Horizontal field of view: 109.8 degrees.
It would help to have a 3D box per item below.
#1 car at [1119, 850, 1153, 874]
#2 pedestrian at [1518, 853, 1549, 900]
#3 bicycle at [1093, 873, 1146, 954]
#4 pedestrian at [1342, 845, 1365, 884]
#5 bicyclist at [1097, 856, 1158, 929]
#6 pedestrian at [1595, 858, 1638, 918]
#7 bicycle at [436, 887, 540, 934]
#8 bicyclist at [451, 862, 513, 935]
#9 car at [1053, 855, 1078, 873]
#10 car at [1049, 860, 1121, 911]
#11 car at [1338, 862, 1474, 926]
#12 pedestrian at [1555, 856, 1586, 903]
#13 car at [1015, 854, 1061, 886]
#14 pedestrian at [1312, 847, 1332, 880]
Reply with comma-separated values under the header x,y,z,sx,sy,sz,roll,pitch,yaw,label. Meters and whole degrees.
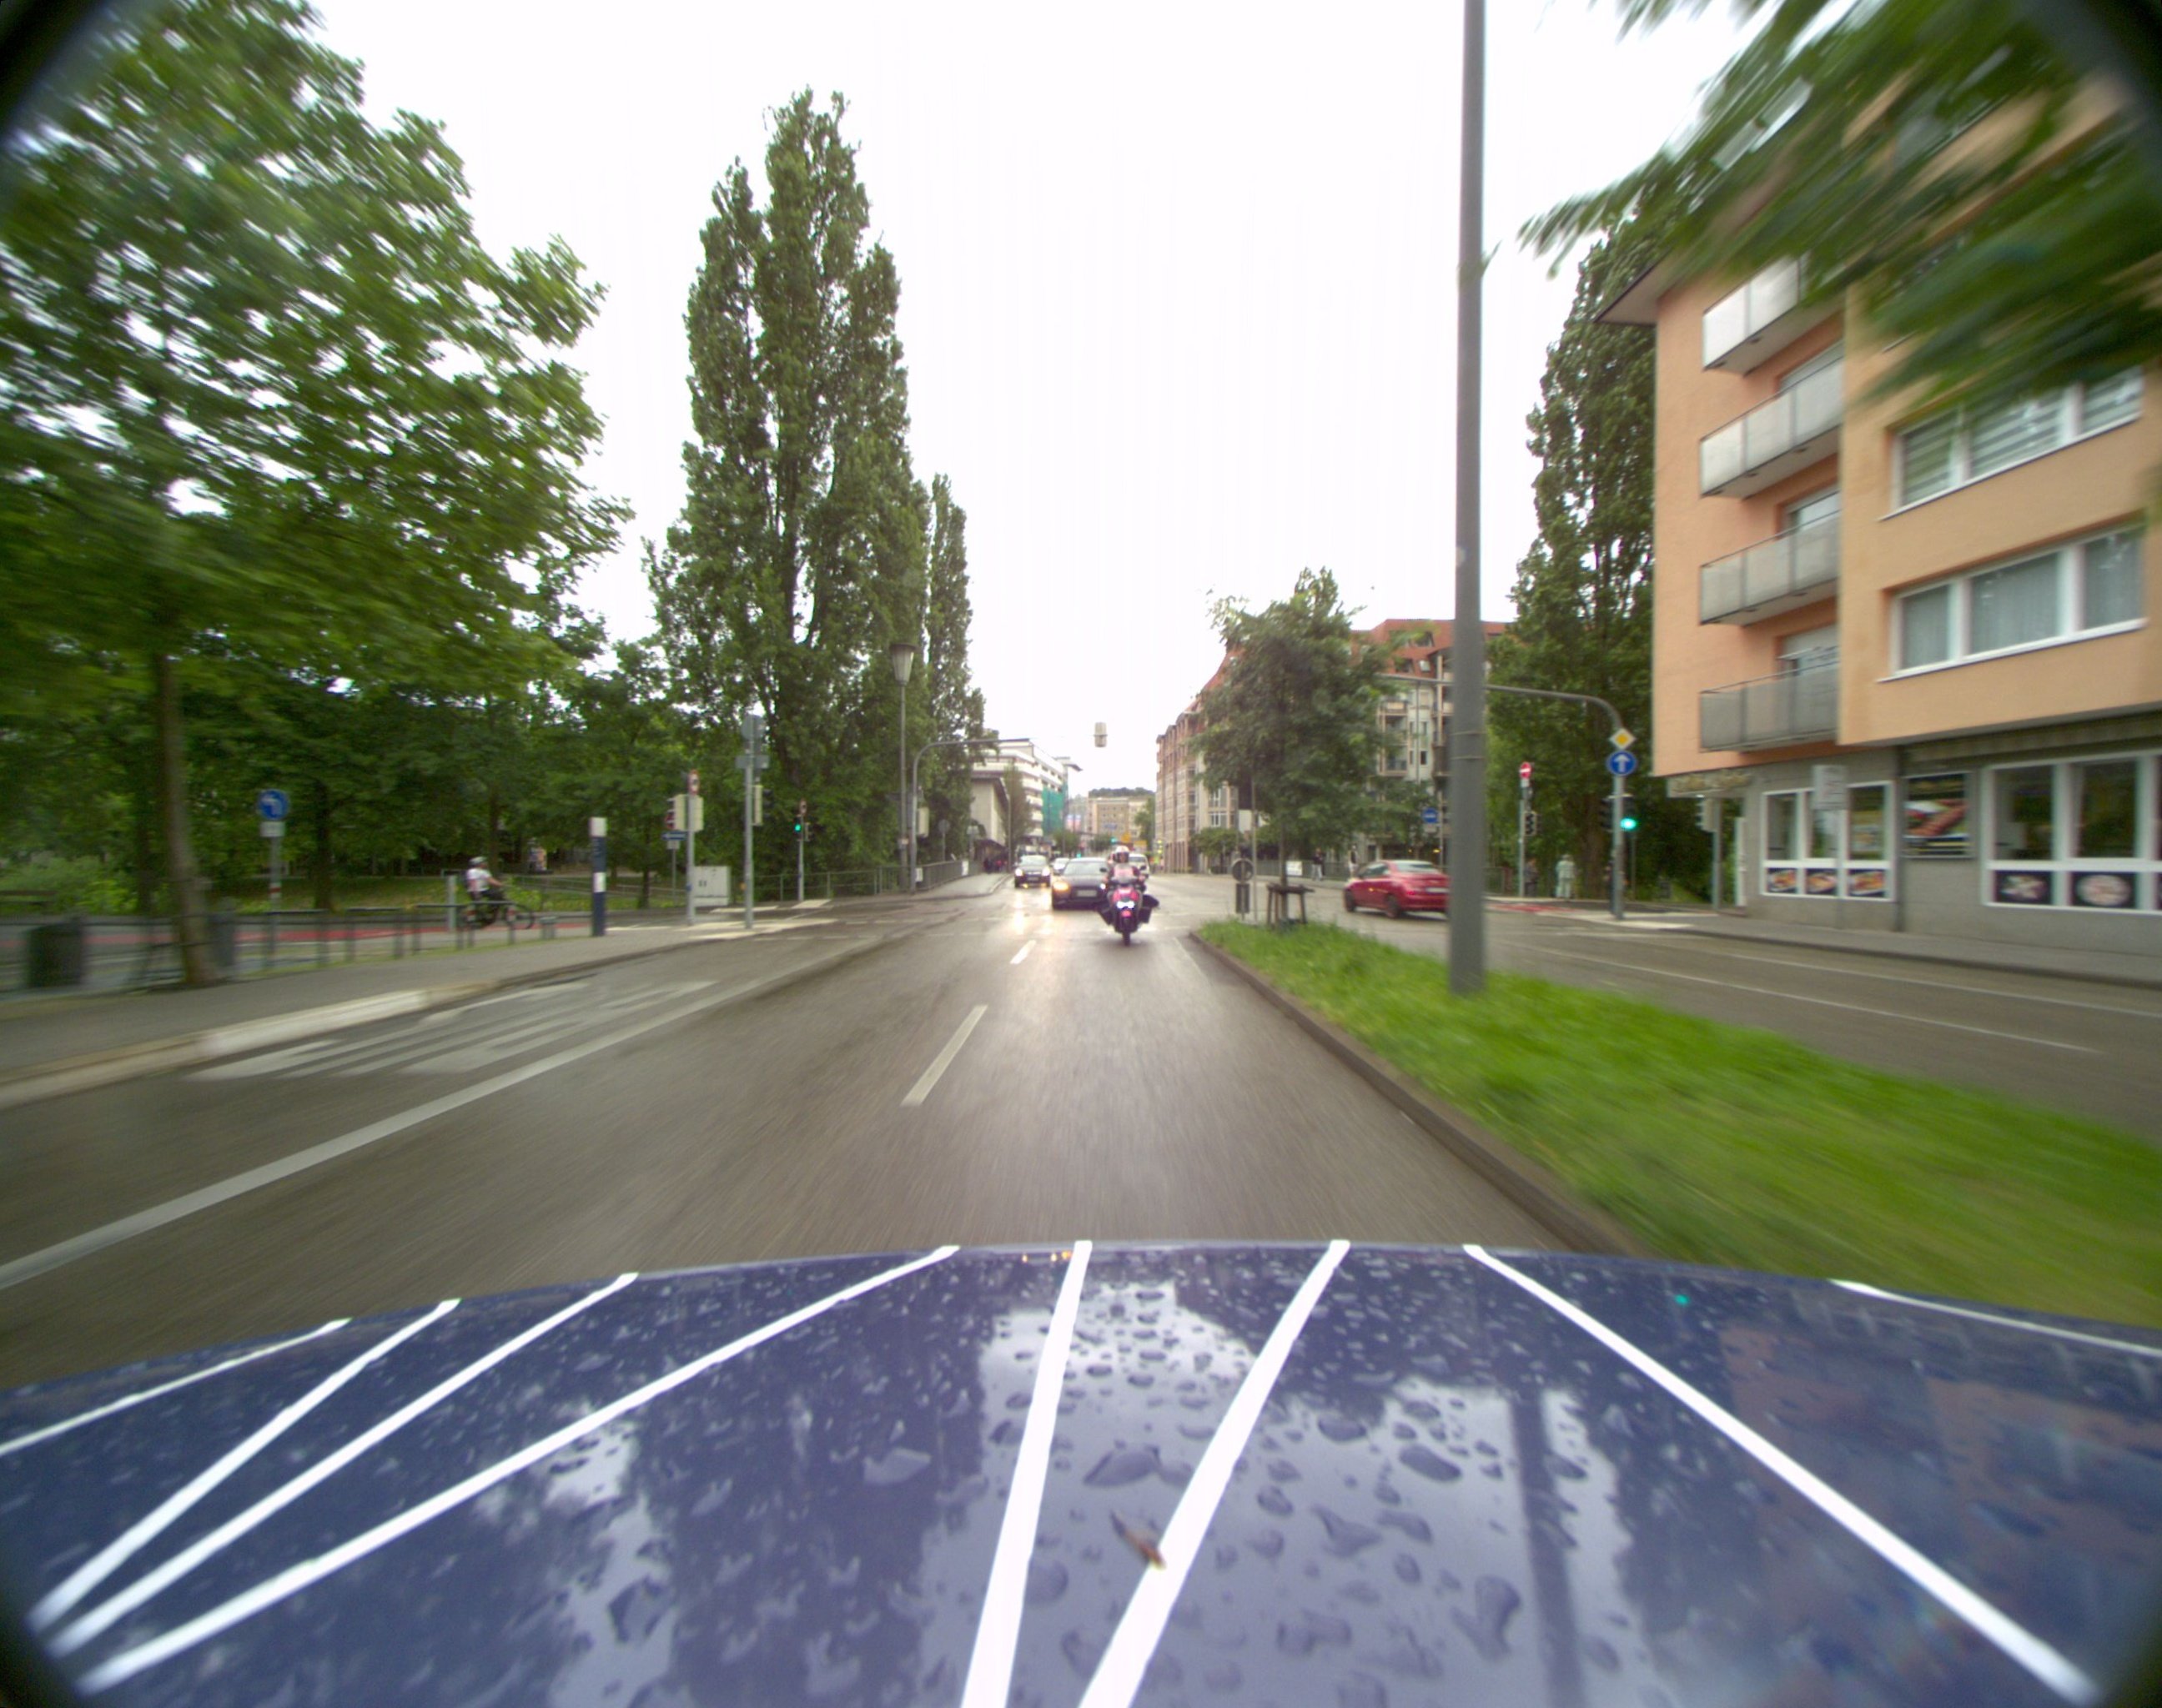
x,y,z,sx,sy,sz,roll,pitch,yaw,label
3.450,0.460,48.191,1.670,1.456,3.253,1,0,-4,car
16.557,0.813,27.804,0.748,1.681,0.681,0,0,-35,pedestrian
0.648,1.039,13.647,0.717,1.297,2.428,2,-3,-1,bicycle
13.133,0.499,36.653,0.746,1.876,0.800,1,0,-6,pedestrian
0.802,0.671,13.274,0.963,1.218,0.715,0,-3,-4,bicyclist
13.384,0.838,19.000,0.561,1.432,0.608,-3,0,-22,pedestrian
-14.793,1.386,18.997,1.935,1.088,0.649,0,1,-18,bicycle
-14.906,1.082,18.936,0.988,1.760,0.795,0,1,-18,bicyclist
-1.503,0.922,70.239,1.898,1.566,4.359,2,-1,-6,car
0.234,0.903,23.704,1.896,1.396,4.362,-1,0,5,car
8.083,0.936,19.289,1.571,1.385,3.833,2,0,-4,car
17.467,0.903,27.127,0.684,1.639,0.744,0,0,-39,pedestrian
-2.022,0.776,36.930,1.896,1.391,4.362,2,-1,1,car
12.849,0.500,40.476,0.767,1.685,0.799,1,1,-6,pedestrian
